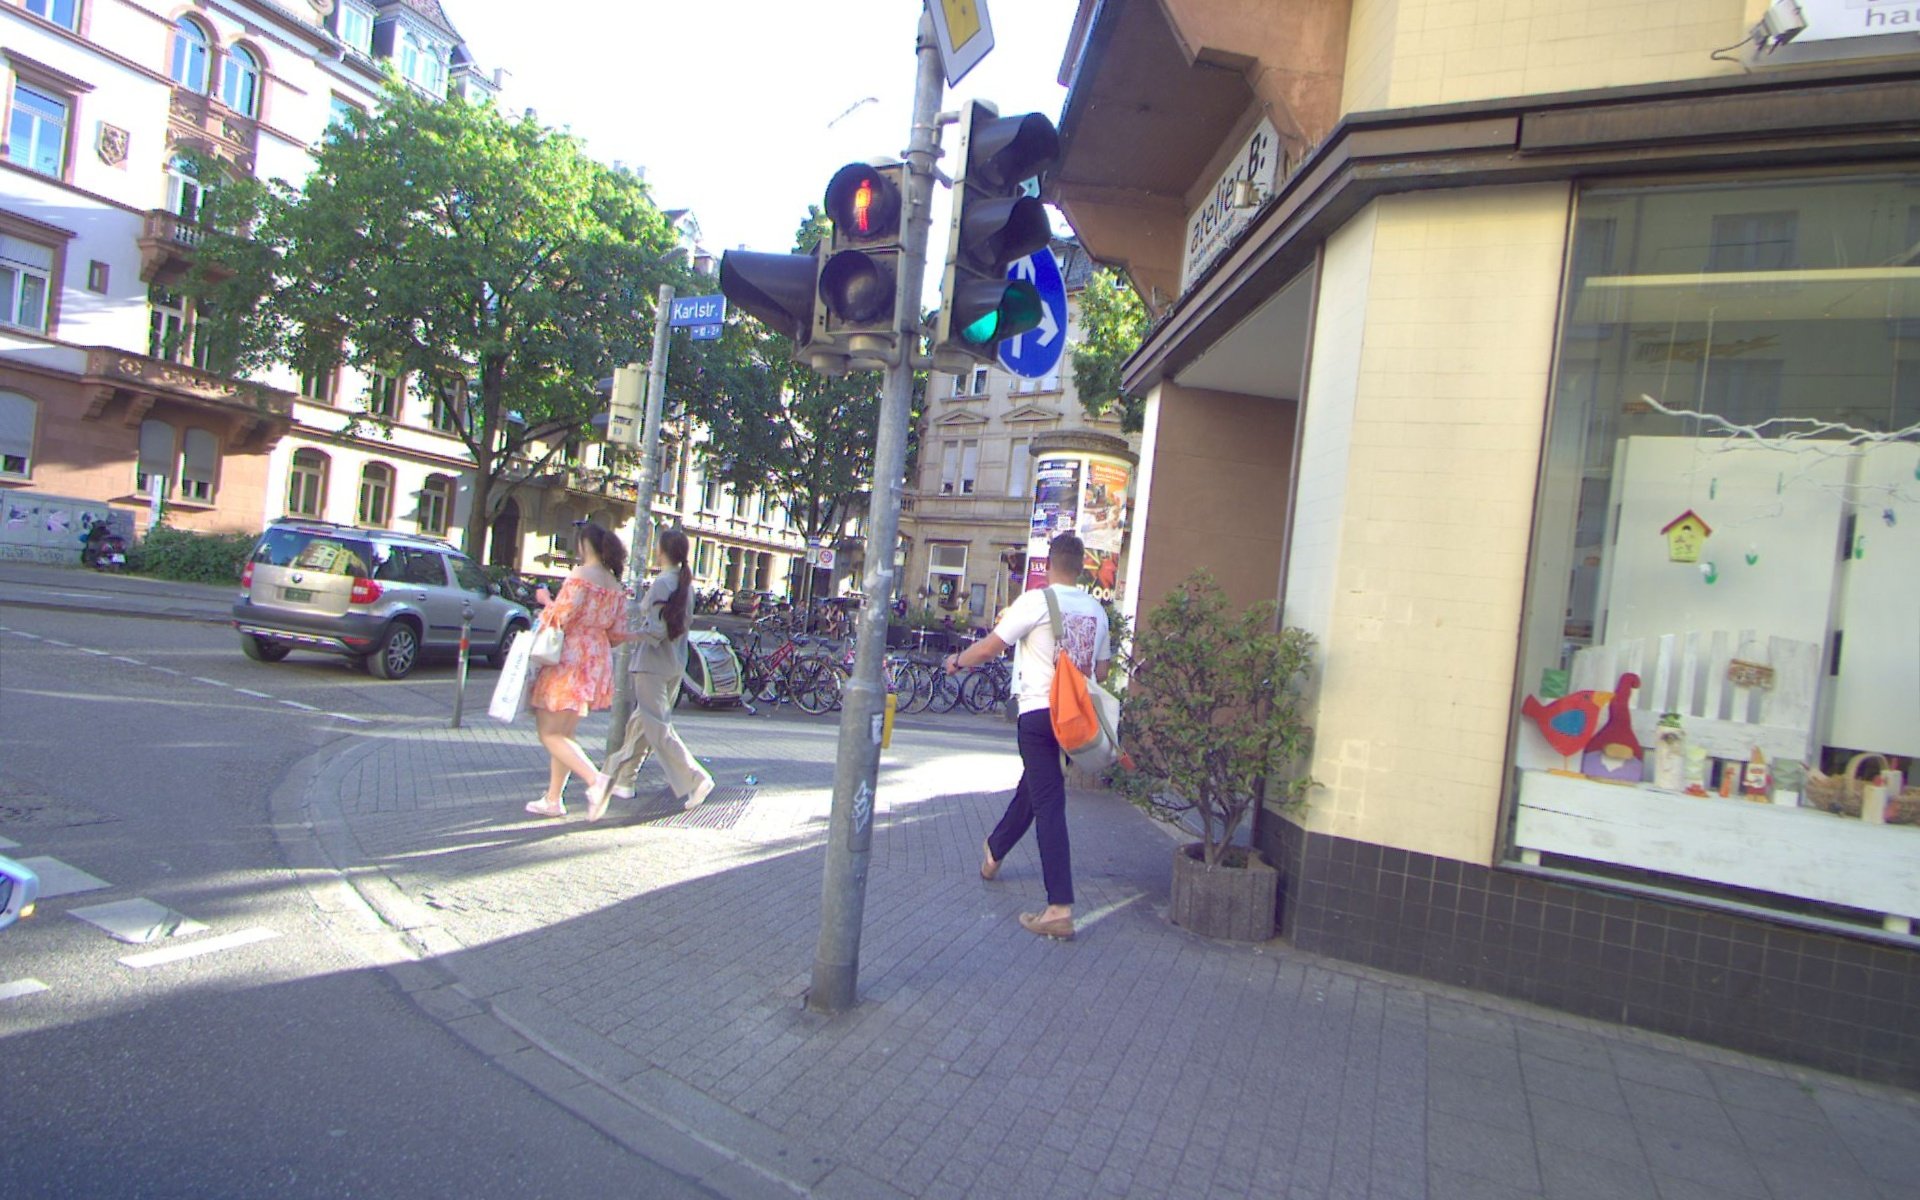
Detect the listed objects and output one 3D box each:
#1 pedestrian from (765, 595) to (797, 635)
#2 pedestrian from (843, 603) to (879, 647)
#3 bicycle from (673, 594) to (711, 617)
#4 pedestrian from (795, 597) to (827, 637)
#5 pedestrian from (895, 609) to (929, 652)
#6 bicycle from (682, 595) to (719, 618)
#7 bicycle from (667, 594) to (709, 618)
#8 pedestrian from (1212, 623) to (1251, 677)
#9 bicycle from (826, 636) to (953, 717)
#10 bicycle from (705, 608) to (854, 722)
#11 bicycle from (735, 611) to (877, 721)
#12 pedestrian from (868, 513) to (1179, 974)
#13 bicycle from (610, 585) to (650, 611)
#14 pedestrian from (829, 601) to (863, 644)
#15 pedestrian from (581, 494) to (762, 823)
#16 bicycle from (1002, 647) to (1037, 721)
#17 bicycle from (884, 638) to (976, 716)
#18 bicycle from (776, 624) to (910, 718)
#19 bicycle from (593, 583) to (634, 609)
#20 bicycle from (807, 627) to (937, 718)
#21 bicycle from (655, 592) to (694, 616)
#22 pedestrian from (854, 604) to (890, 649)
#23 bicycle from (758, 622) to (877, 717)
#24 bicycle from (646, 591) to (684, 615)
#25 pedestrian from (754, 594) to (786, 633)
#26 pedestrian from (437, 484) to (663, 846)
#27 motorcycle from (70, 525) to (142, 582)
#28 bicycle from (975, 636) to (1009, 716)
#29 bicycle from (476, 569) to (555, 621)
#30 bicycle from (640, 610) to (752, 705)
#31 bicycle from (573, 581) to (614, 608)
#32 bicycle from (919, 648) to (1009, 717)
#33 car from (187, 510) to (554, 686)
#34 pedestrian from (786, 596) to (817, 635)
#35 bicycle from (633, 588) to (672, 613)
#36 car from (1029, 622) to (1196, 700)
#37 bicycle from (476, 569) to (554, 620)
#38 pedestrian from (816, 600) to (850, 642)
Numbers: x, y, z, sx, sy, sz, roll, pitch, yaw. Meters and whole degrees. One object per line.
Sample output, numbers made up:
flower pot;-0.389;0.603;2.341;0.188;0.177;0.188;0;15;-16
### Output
pedestrian;-6.749;0.565;37.946;0.904;1.447;0.759;2;2;-31
pedestrian;-3.402;0.856;34.623;0.905;1.447;0.759;2;2;-33
bicycle;-12.656;0.258;47.507;1.766;0.904;0.492;6;0;28
pedestrian;-5.693;0.650;38.420;0.904;1.447;0.759;2;2;-31
pedestrian;-1.717;1.086;36.002;0.757;1.448;0.907;2;3;-34
bicycle;-12.402;0.304;48.117;1.766;0.904;0.492;6;0;28
bicycle;-12.255;0.288;45.402;0.486;0.904;1.790;7;0;39
pedestrian;9.184;1.692;34.074;0.756;1.759;0.908;2;3;-28
bicycle;-1.074;1.127;15.108;1.888;1.012;0.450;5;-1;29
bicycle;-2.316;0.808;12.824;1.888;1.238;0.505;5;-1;29
bicycle;-2.051;0.851;13.271;1.888;1.238;0.450;5;0;29
pedestrian;0.308;0.576;4.676;1.072;1.825;0.806;7;5;23
bicycle;-14.261;-0.085;43.458;1.766;0.904;0.492;6;0;28
pedestrian;-4.044;0.810;35.641;0.904;1.447;0.759;2;2;-31
pedestrian;-1.811;0.349;6.357;0.659;1.931;0.691;4;-1;31
bicycle;0.966;1.359;16.607;0.442;1.099;1.405;5;-1;2
bicycle;-0.474;1.191;15.743;1.384;1.055;0.449;4;-1;37
bicycle;-1.676;0.984;14.233;1.888;1.112;0.450;5;-1;29
bicycle;-14.700;-0.156;42.690;1.766;0.904;0.492;6;0;28
bicycle;-1.304;1.039;14.701;1.888;1.112;0.450;5;-1;29
bicycle;-13.174;0.169;46.418;1.766;0.904;0.492;6;0;28
pedestrian;-2.973;0.889;34.051;0.904;1.447;0.759;2;2;-31
bicycle;-1.965;0.933;13.804;1.584;1.125;0.450;5;0;29
bicycle;-13.435;0.124;45.794;1.766;0.904;0.492;6;0;28
pedestrian;-7.329;0.523;38.795;0.905;1.447;0.759;2;2;-33
pedestrian;-2.295;0.320;5.645;0.749;1.825;0.804;8;5;33
motorcycle;-19.869;-1.093;23.392;2.251;1.033;0.719;9;2;37
bicycle;0.537;1.248;16.887;0.442;1.238;1.405;5;-1;2
bicycle;-12.089;-0.141;27.392;1.843;1.176;0.555;7;2;-28
bicycle;-3.285;0.711;12.513;1.046;1.057;0.778;4;-1;35
bicycle;-15.217;-0.240;41.766;1.766;0.904;0.492;6;0;28
bicycle;0.055;1.312;16.147;1.384;0.961;0.449;4;-1;37
car;-7.146;0.022;12.798;1.962;1.637;4.002;7;-1;4
pedestrian;-6.233;0.606;39.435;0.905;1.447;0.759;2;2;-33
bicycle;-13.705;0.018;44.865;1.766;0.904;0.492;6;0;28
car;4.073;1.623;26.843;3.947;1.593;1.794;7;0;-23
bicycle;-12.351;-0.156;27.929;1.843;1.176;0.555;7;2;-28
pedestrian;-4.606;0.749;36.500;0.905;1.447;0.759;2;2;-33
